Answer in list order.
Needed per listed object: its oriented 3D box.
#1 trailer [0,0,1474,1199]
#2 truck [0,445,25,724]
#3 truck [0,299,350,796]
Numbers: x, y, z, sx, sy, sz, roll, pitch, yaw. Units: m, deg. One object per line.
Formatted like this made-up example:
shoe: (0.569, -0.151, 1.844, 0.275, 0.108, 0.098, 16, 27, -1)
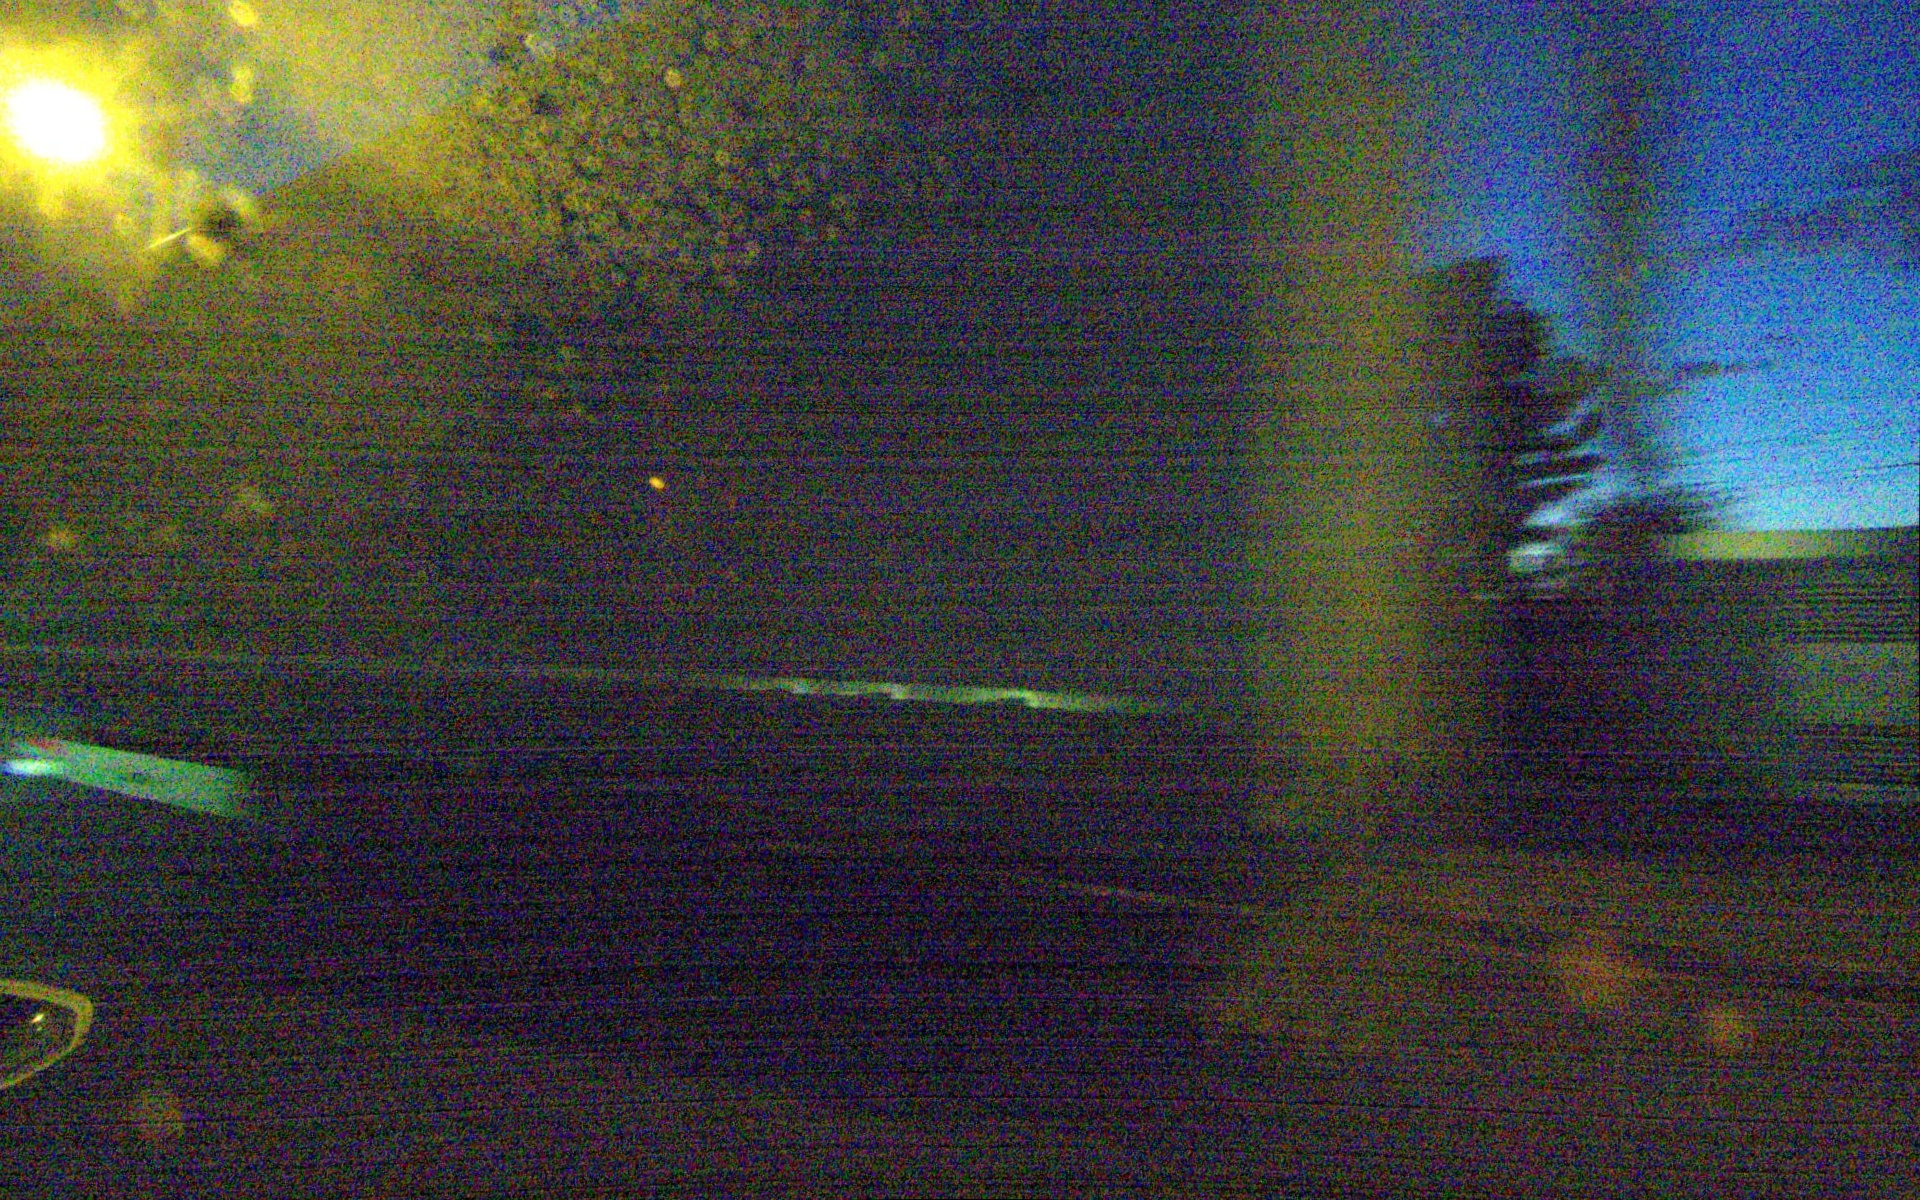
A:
trailer: (-4.074, -0.399, 7.326, 13.774, 4.034, 2.804, -1, -2, 32)
truck: (-18.815, -0.185, 15.991, 10.187, 4.034, 2.827, -1, -2, 30)
truck: (-9.713, -0.343, 10.803, 5.959, 4.034, 2.827, -1, -2, 30)
